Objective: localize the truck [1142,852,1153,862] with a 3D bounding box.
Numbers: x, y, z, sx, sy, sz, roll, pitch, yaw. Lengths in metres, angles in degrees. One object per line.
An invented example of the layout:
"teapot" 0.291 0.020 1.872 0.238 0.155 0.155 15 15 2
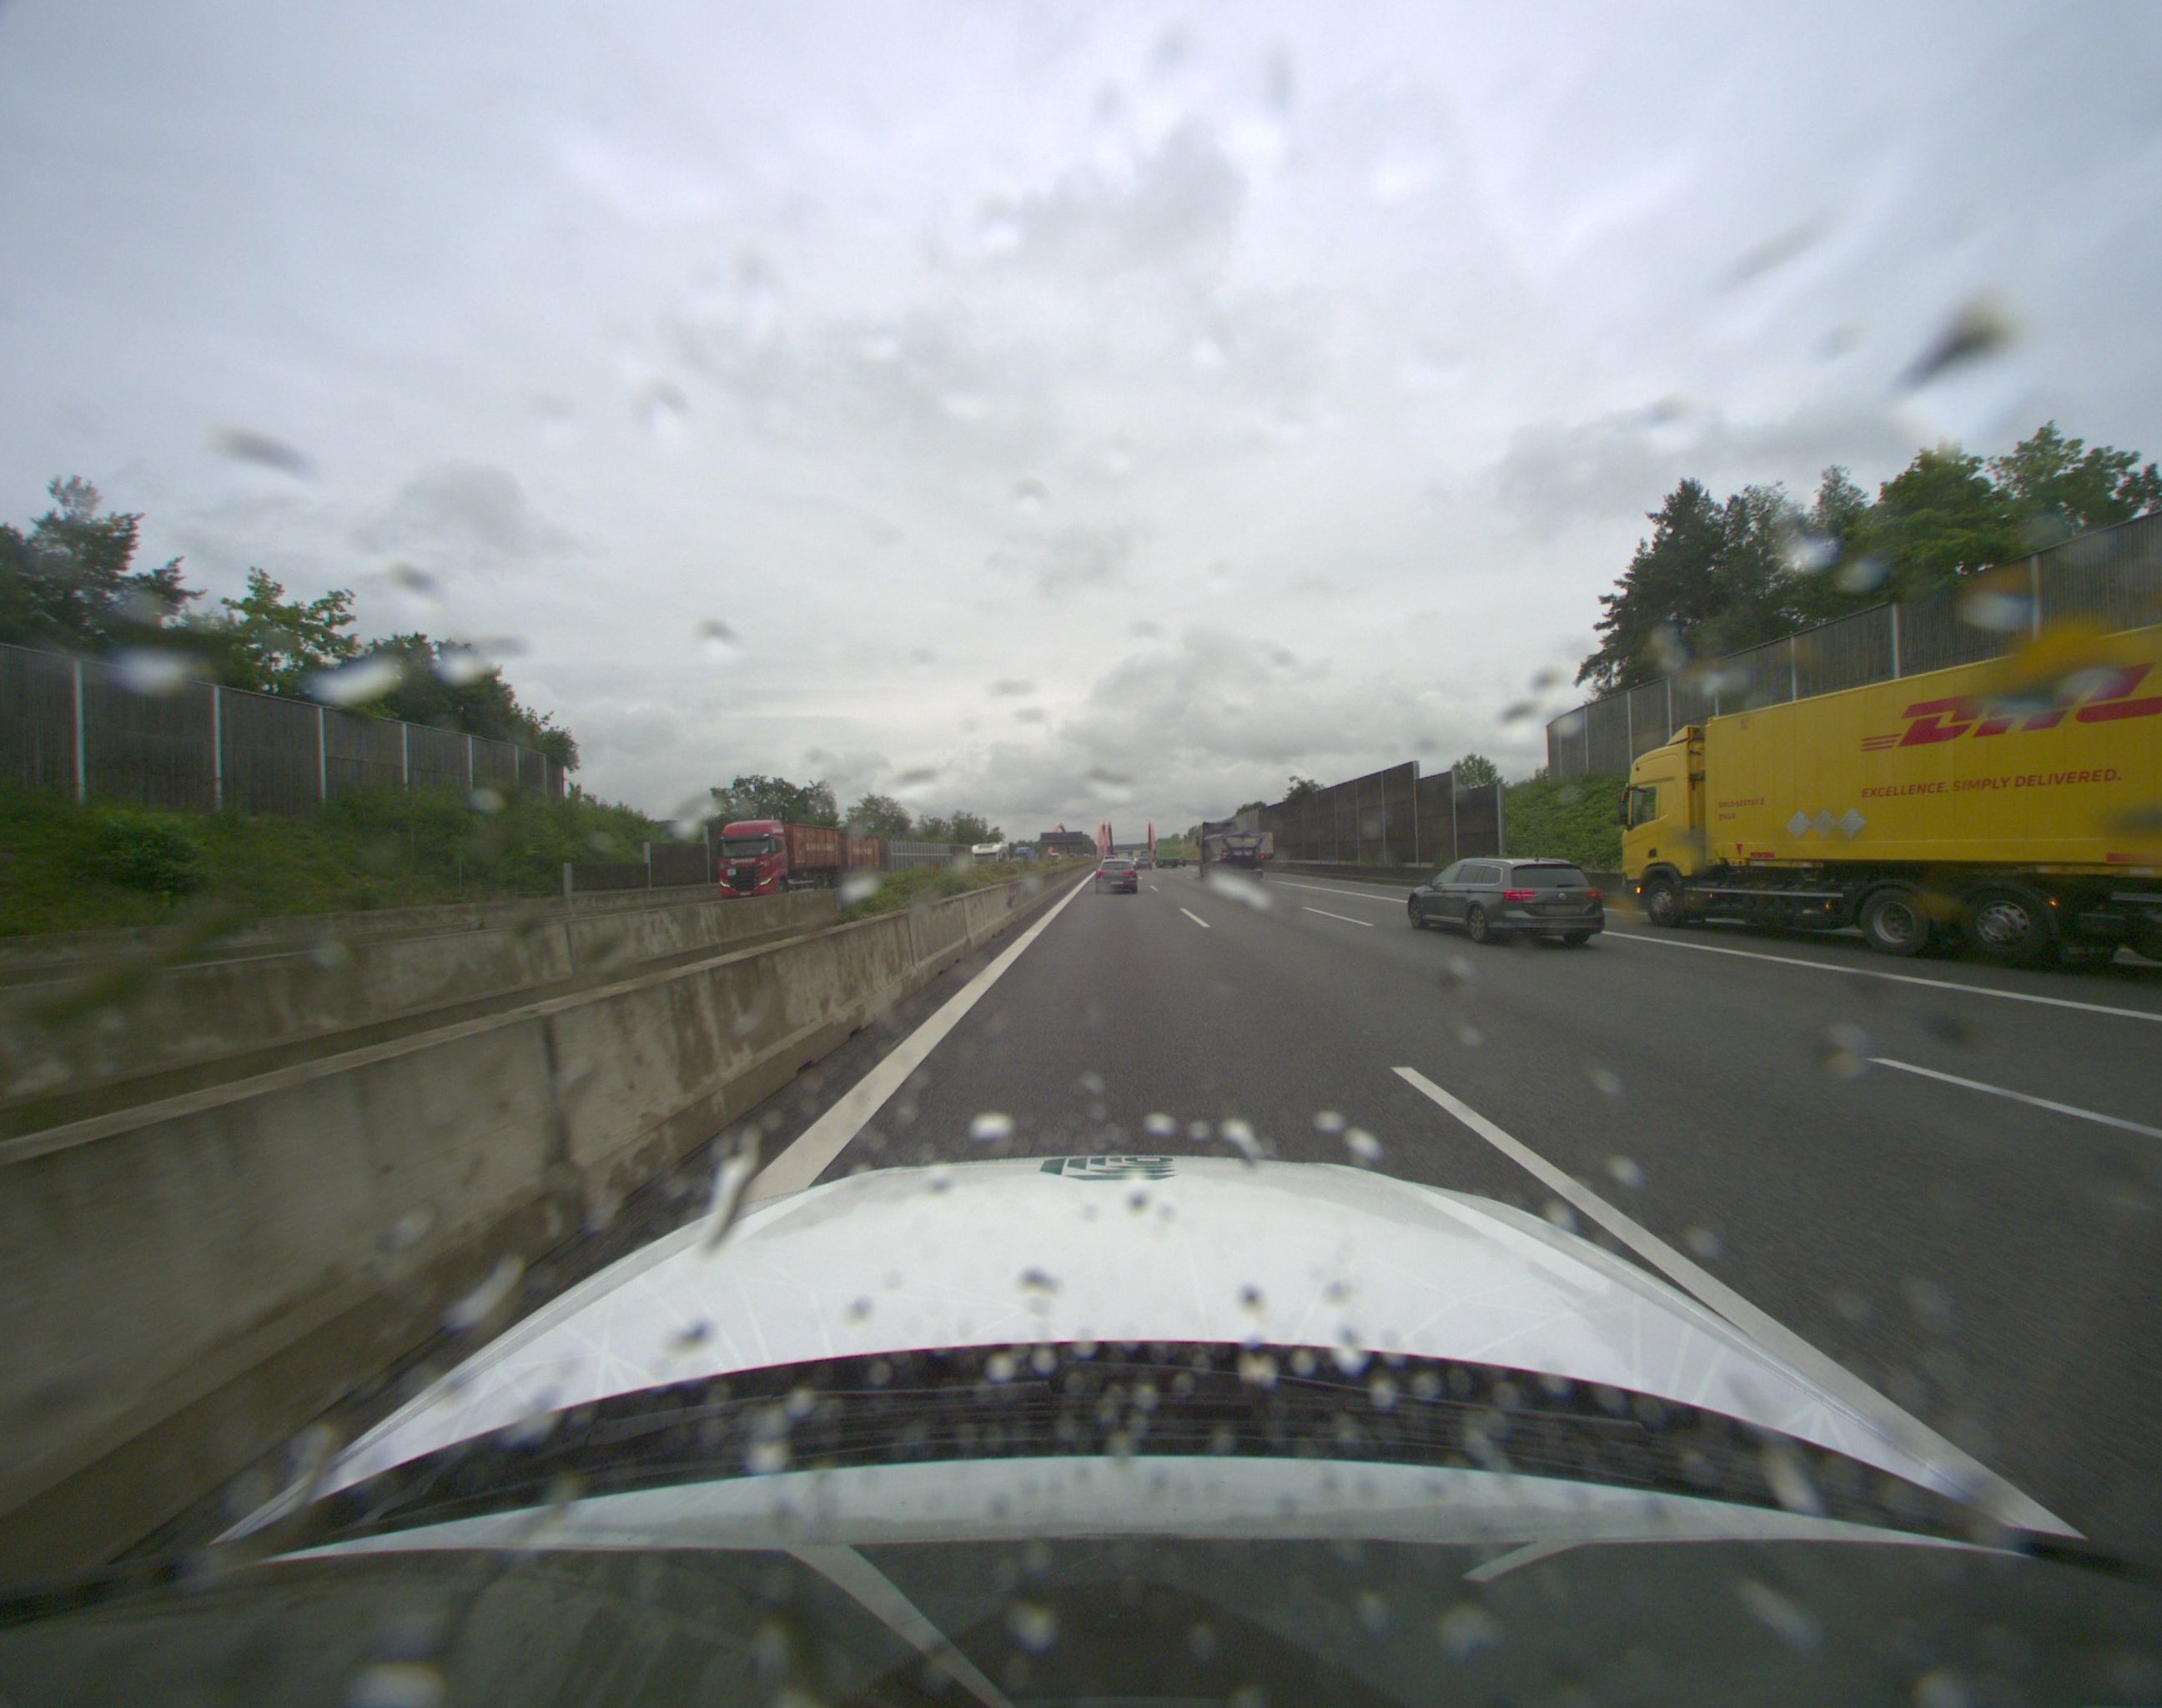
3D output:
"truck" 15.643 0.702 191.860 2.351 2.506 6.149 -1 0 3

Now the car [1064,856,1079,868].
"car" -1.360 1.125 117.433 1.986 1.750 4.001 -2 0 2

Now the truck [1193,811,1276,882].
"truck" 9.613 -0.387 52.752 3.078 3.950 12.947 -2 -1 1

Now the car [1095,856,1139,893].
"car" 1.547 0.838 34.341 1.756 1.453 4.003 -1 0 3

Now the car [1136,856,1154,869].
"car" 7.126 0.910 90.818 1.775 1.406 3.628 -1 0 2

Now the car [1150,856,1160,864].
"car" 15.962 1.290 175.444 1.949 1.647 4.002 0 0 2

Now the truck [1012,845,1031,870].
"truck" -11.683 0.678 160.503 3.177 4.858 5.419 0 -1 1

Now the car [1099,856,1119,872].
"car" 2.988 1.012 87.103 1.986 1.585 4.002 -2 0 2

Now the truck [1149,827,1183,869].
"truck" 11.087 -0.743 107.768 3.981 5.266 11.228 0 0 3

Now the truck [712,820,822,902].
"truck" -15.238 0.339 40.073 2.686 3.707 6.483 0 0 2

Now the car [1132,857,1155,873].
"car" 5.626 0.976 73.327 1.985 1.354 4.003 -1 0 3

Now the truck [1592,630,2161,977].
"truck" 12.937 -0.546 13.928 2.676 3.958 9.327 0 0 1

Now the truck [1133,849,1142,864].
"truck" 17.950 0.801 259.032 3.032 4.734 7.686 0 -1 3

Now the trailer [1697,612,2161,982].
"trailer" 12.822 -0.619 7.051 2.641 3.953 16.688 0 0 1

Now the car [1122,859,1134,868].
"car" 8.015 1.598 139.452 1.986 1.354 4.001 -2 0 2

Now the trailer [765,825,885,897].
"trailer" -14.912 0.373 48.987 2.716 3.683 12.569 -2 0 2

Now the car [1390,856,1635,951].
"car" 7.635 0.766 15.174 1.932 1.427 5.291 0 0 2

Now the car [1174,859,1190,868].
"car" 15.186 1.399 122.675 1.986 1.354 4.002 -2 0 2

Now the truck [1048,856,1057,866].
"truck" -9.039 2.168 254.678 2.613 3.019 5.611 0 0 0

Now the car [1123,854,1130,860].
"car" 13.290 0.957 238.328 1.985 1.815 4.003 -1 0 3

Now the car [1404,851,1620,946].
"car" 7.522 0.700 14.783 1.657 1.456 4.472 0 0 1

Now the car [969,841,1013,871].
"car" -7.070 0.152 64.890 2.364 2.193 7.727 -2 0 2
